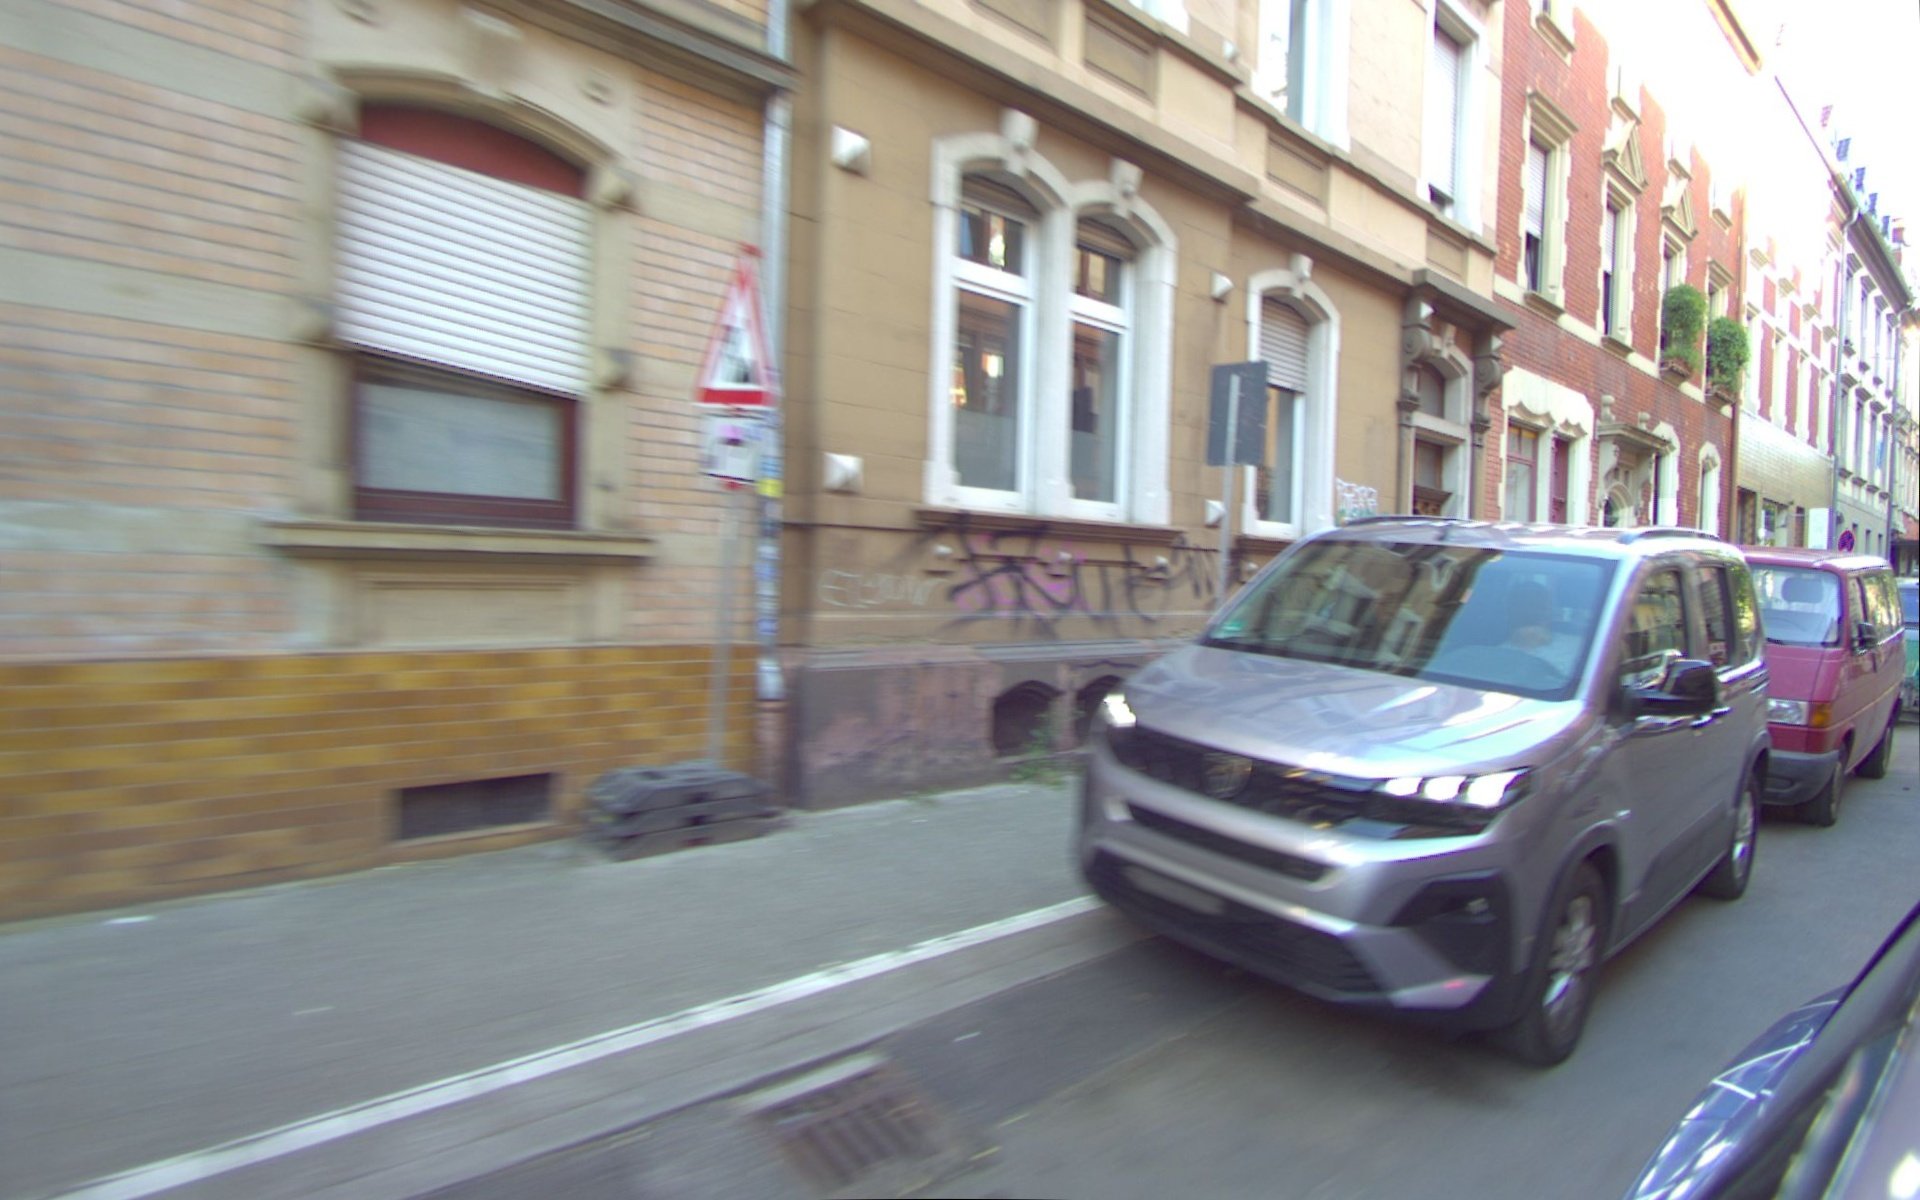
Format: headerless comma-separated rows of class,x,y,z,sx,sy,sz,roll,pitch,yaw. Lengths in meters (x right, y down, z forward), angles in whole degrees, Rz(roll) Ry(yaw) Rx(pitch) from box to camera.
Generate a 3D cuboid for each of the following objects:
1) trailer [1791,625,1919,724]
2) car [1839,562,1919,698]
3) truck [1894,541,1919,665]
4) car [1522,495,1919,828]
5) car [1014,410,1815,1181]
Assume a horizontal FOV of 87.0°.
trailer,12.146,0.914,13.279,2.987,1.127,1.506,0,-1,-43
car,15.921,0.454,16.493,4.496,2.009,1.848,0,0,-42
truck,23.839,0.164,23.777,6.149,2.688,2.152,0,6,-44
car,6.581,0.367,8.429,4.658,2.039,1.835,0,0,-41
car,2.372,0.497,4.663,4.189,1.986,1.773,0,0,-41
